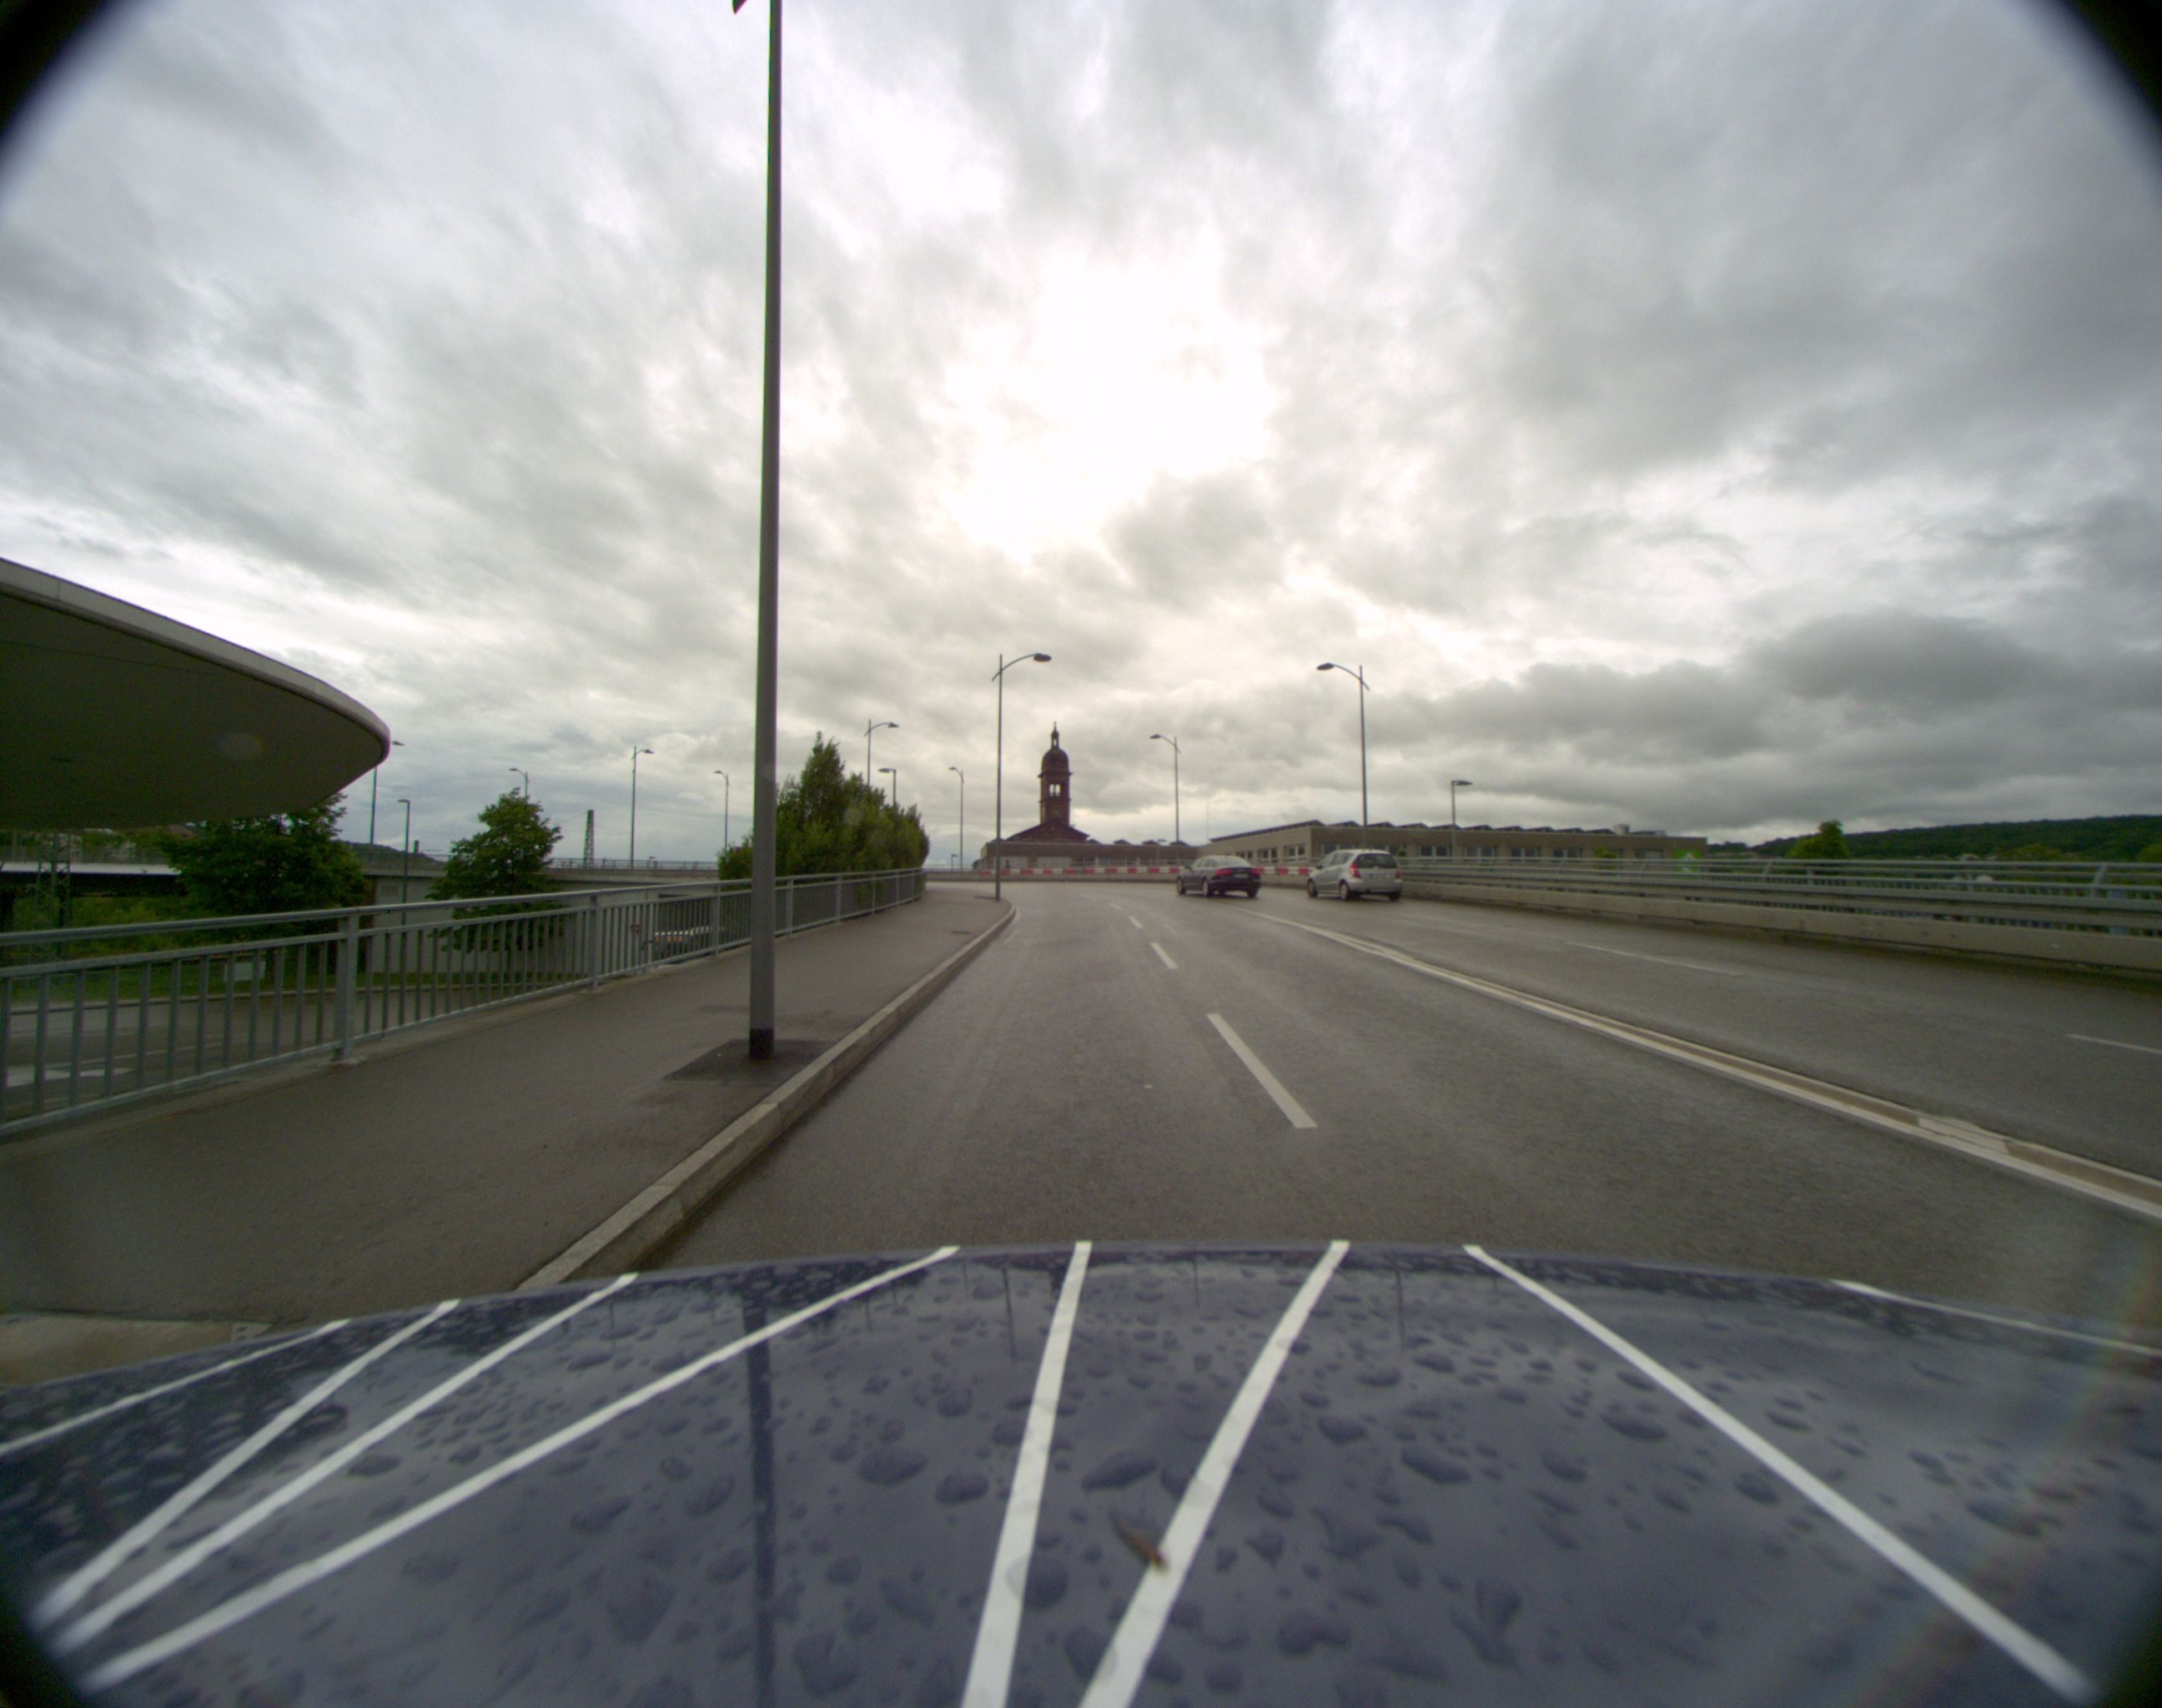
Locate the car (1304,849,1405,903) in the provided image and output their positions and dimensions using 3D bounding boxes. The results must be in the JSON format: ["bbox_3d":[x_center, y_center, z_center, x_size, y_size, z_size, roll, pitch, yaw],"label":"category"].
[{"bbox_3d":[8.755,0.651,24.634,1.649,1.599,3.708,0,1,-5],"label":"car"}]

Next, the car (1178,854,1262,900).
[{"bbox_3d":[4.931,0.763,27.599,1.673,1.482,4.454,0,1,-8],"label":"car"}]

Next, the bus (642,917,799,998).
[{"bbox_3d":[-22.214,6.230,48.111,2.794,3.238,12.145,-2,1,7],"label":"bus"}]
